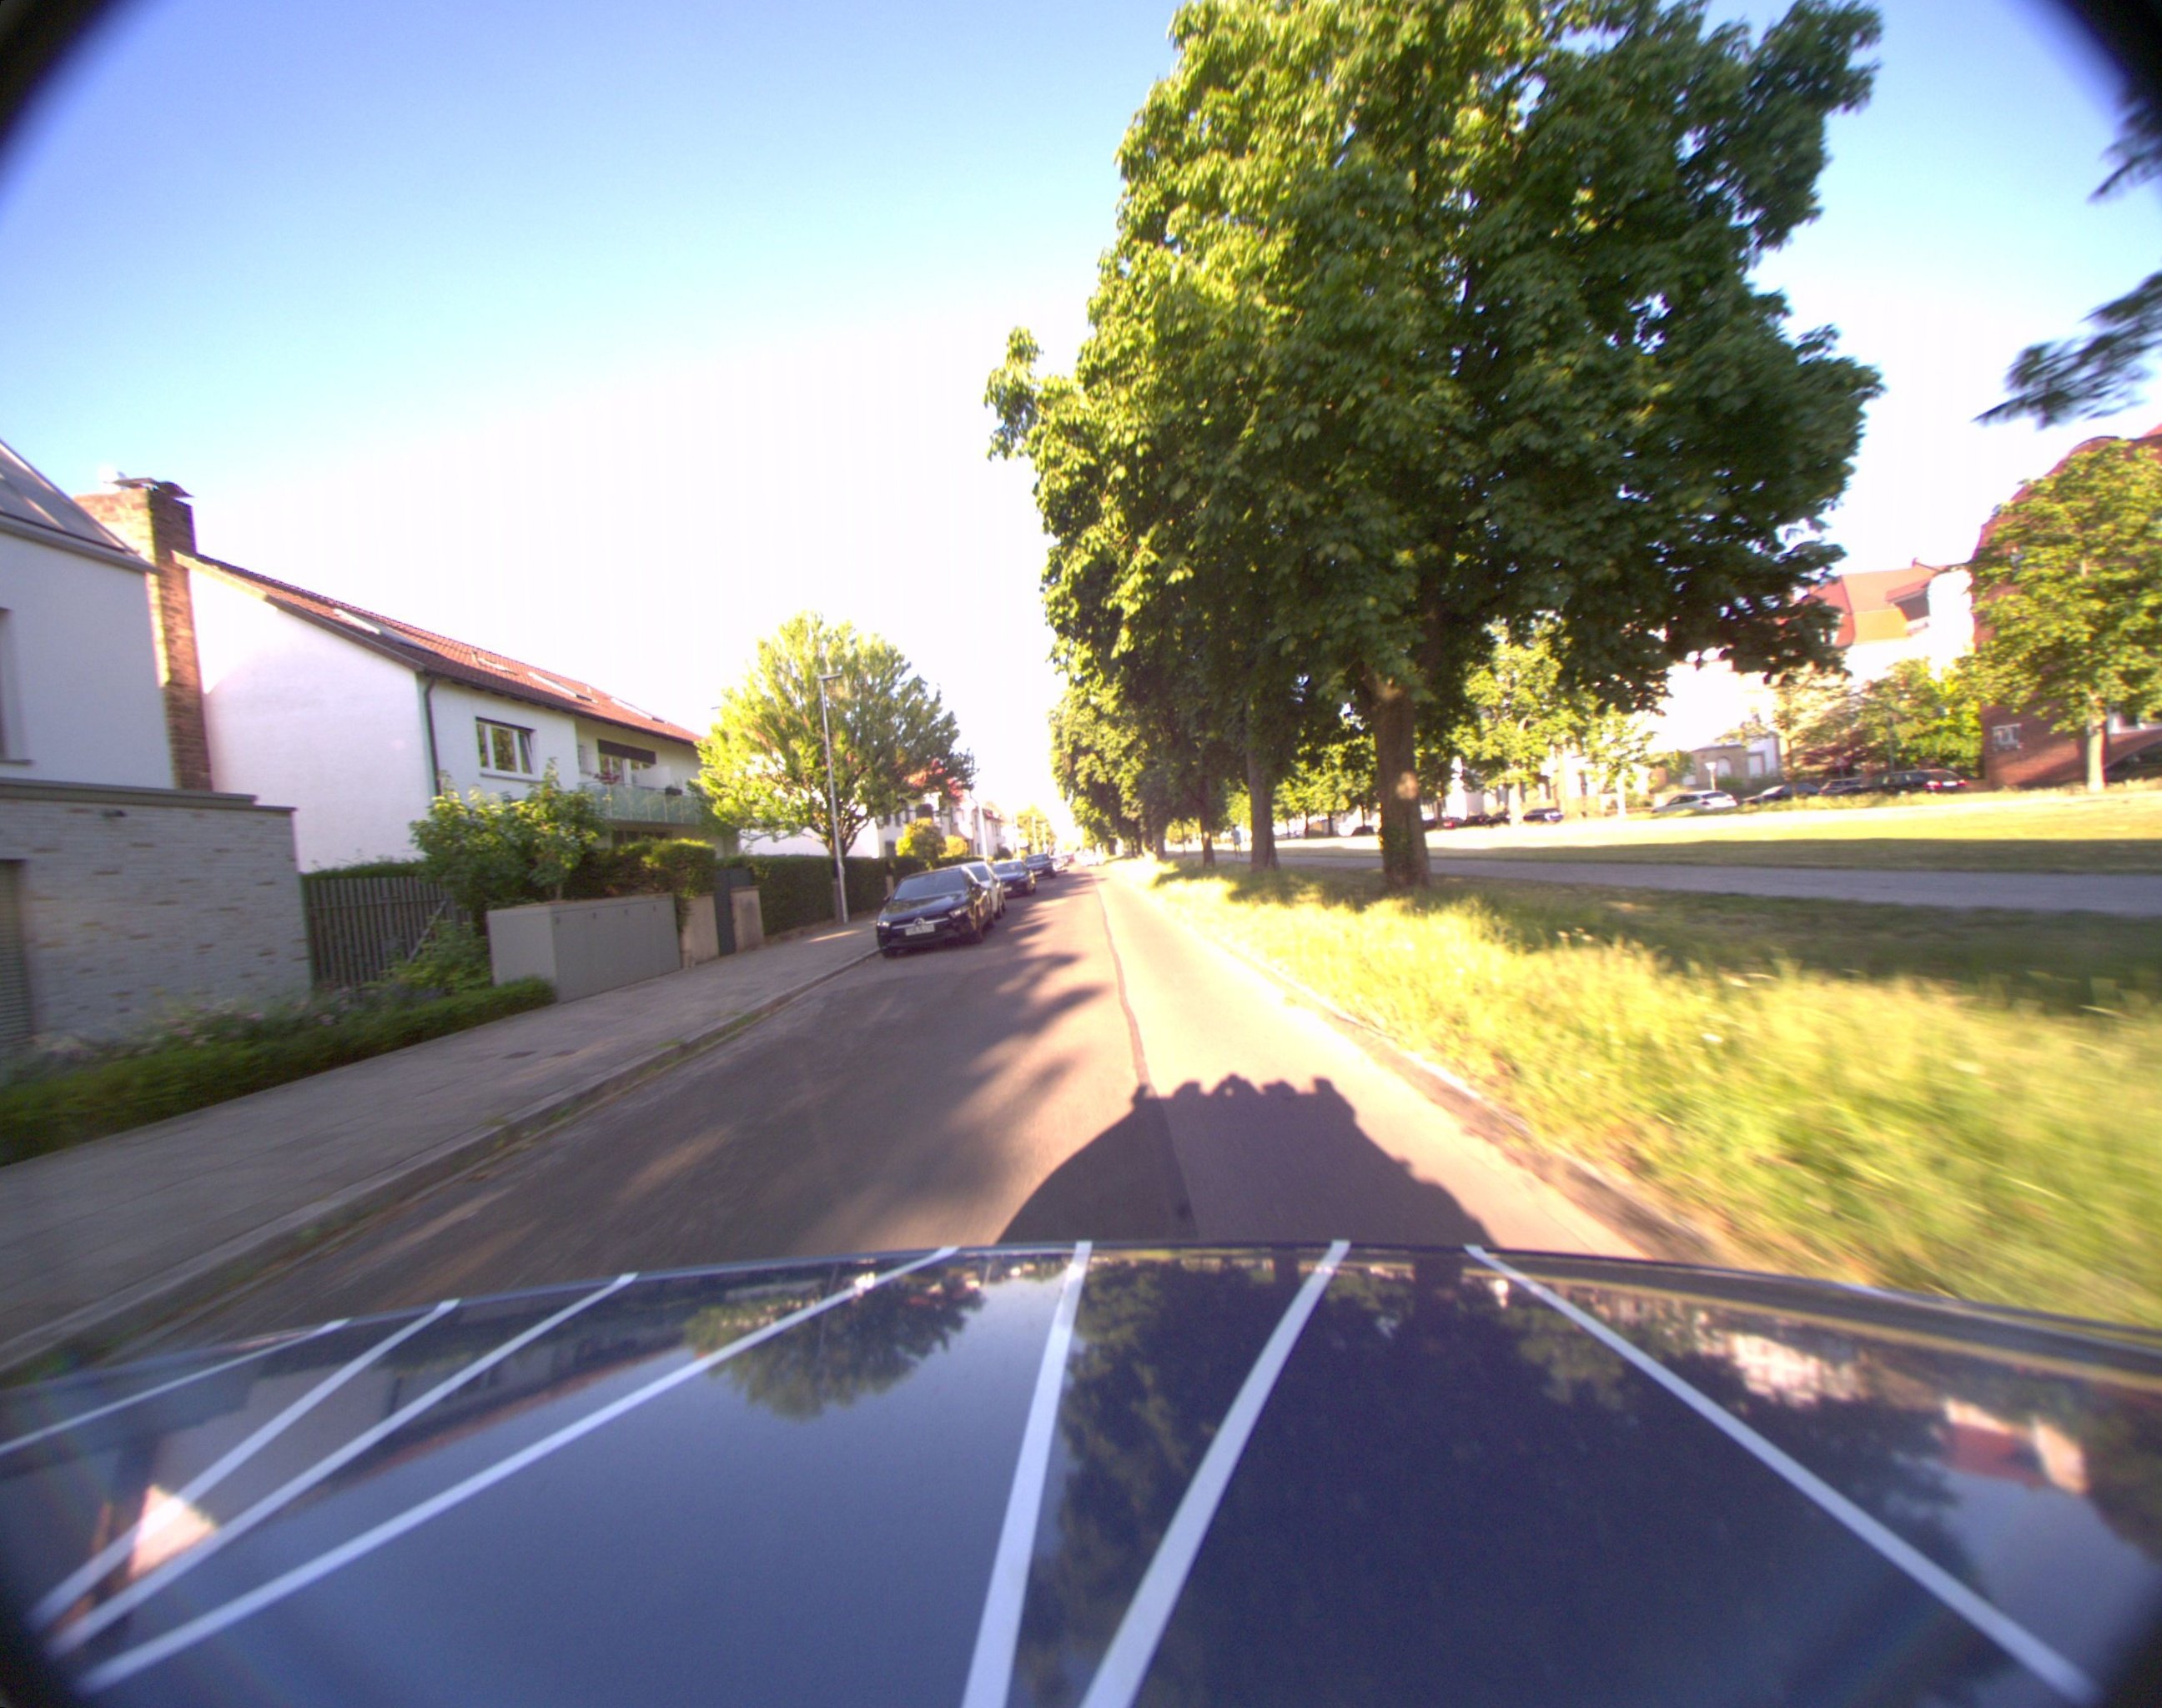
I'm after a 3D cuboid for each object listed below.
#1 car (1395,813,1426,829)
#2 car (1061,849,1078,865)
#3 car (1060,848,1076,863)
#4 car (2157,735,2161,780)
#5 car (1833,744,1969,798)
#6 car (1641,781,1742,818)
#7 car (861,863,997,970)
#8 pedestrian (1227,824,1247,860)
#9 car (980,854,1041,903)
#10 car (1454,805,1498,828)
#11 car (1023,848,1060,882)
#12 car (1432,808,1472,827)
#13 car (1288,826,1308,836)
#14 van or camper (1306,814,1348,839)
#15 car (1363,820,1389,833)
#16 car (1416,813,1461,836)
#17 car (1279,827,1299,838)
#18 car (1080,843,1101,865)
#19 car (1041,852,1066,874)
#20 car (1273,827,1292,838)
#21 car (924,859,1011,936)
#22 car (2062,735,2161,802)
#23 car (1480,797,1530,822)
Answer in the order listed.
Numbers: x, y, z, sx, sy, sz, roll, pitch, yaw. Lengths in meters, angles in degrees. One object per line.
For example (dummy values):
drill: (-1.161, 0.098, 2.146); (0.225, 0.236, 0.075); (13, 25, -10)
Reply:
car: (40.537, -4.015, 93.563); (1.998, 1.725, 4.000); (-6, 1, 2)
car: (-1.391, 0.341, 89.223); (1.784, 1.491, 4.396); (-9, 1, -1)
car: (-1.839, 0.201, 108.036); (1.863, 1.710, 4.466); (-11, 1, -1)
car: (40.207, -3.580, 25.579); (1.761, 1.614, 4.305); (-6, 1, 1)
car: (39.494, -3.952, 36.794); (1.761, 2.002, 4.368); (-6, 1, 1)
car: (34.213, -3.014, 42.749); (1.824, 1.630, 4.649); (-6, 1, 0)
car: (-2.780, 1.077, 14.867); (1.753, 1.468, 4.287); (-8, 1, -2)
pedestrian: (7.988, -0.626, 38.938); (0.726, 1.748, 0.993); (-6, 1, 7)
car: (-2.702, 0.884, 29.982); (1.798, 1.483, 4.673); (-7, 1, 0)
car: (40.199, -3.743, 77.453); (1.999, 2.002, 4.428); (-6, 1, -1)
car: (-2.506, 0.659, 49.764); (1.999, 1.727, 4.862); (-9, 1, -1)
car: (40.673, -3.980, 83.378); (1.999, 1.643, 4.428); (-6, 1, -1)
car: (41.144, -4.303, 144.239); (1.999, 1.680, 4.874); (-6, 1, -2)
van or camper: (35.192, -3.848, 109.103); (3.262, 3.093, 7.895); (-6, 1, 1)
car: (41.499, -3.831, 107.037); (1.998, 1.455, 3.999); (-6, 1, 0)
car: (34.593, -2.817, 73.669); (1.998, 2.002, 4.875); (-6, 1, 2)
car: (35.419, -3.588, 129.345); (1.998, 1.680, 4.875); (-6, 1, 1)
car: (1.027, -0.022, 82.006); (1.998, 2.002, 3.999); (-7, 1, 1)
car: (-2.270, 0.693, 64.010); (1.784, 1.454, 4.593); (-9, 1, 0)
car: (35.713, -3.767, 134.784); (1.998, 1.680, 4.875); (-6, 1, 1)
car: (-2.870, 1.050, 19.996); (1.695, 1.474, 3.927); (-10, 1, -3)
car: (33.968, -2.776, 22.885); (1.998, 1.929, 5.246); (-6, 1, 2)
car: (40.308, -4.167, 72.322); (1.998, 2.002, 4.875); (-6, 1, 2)
